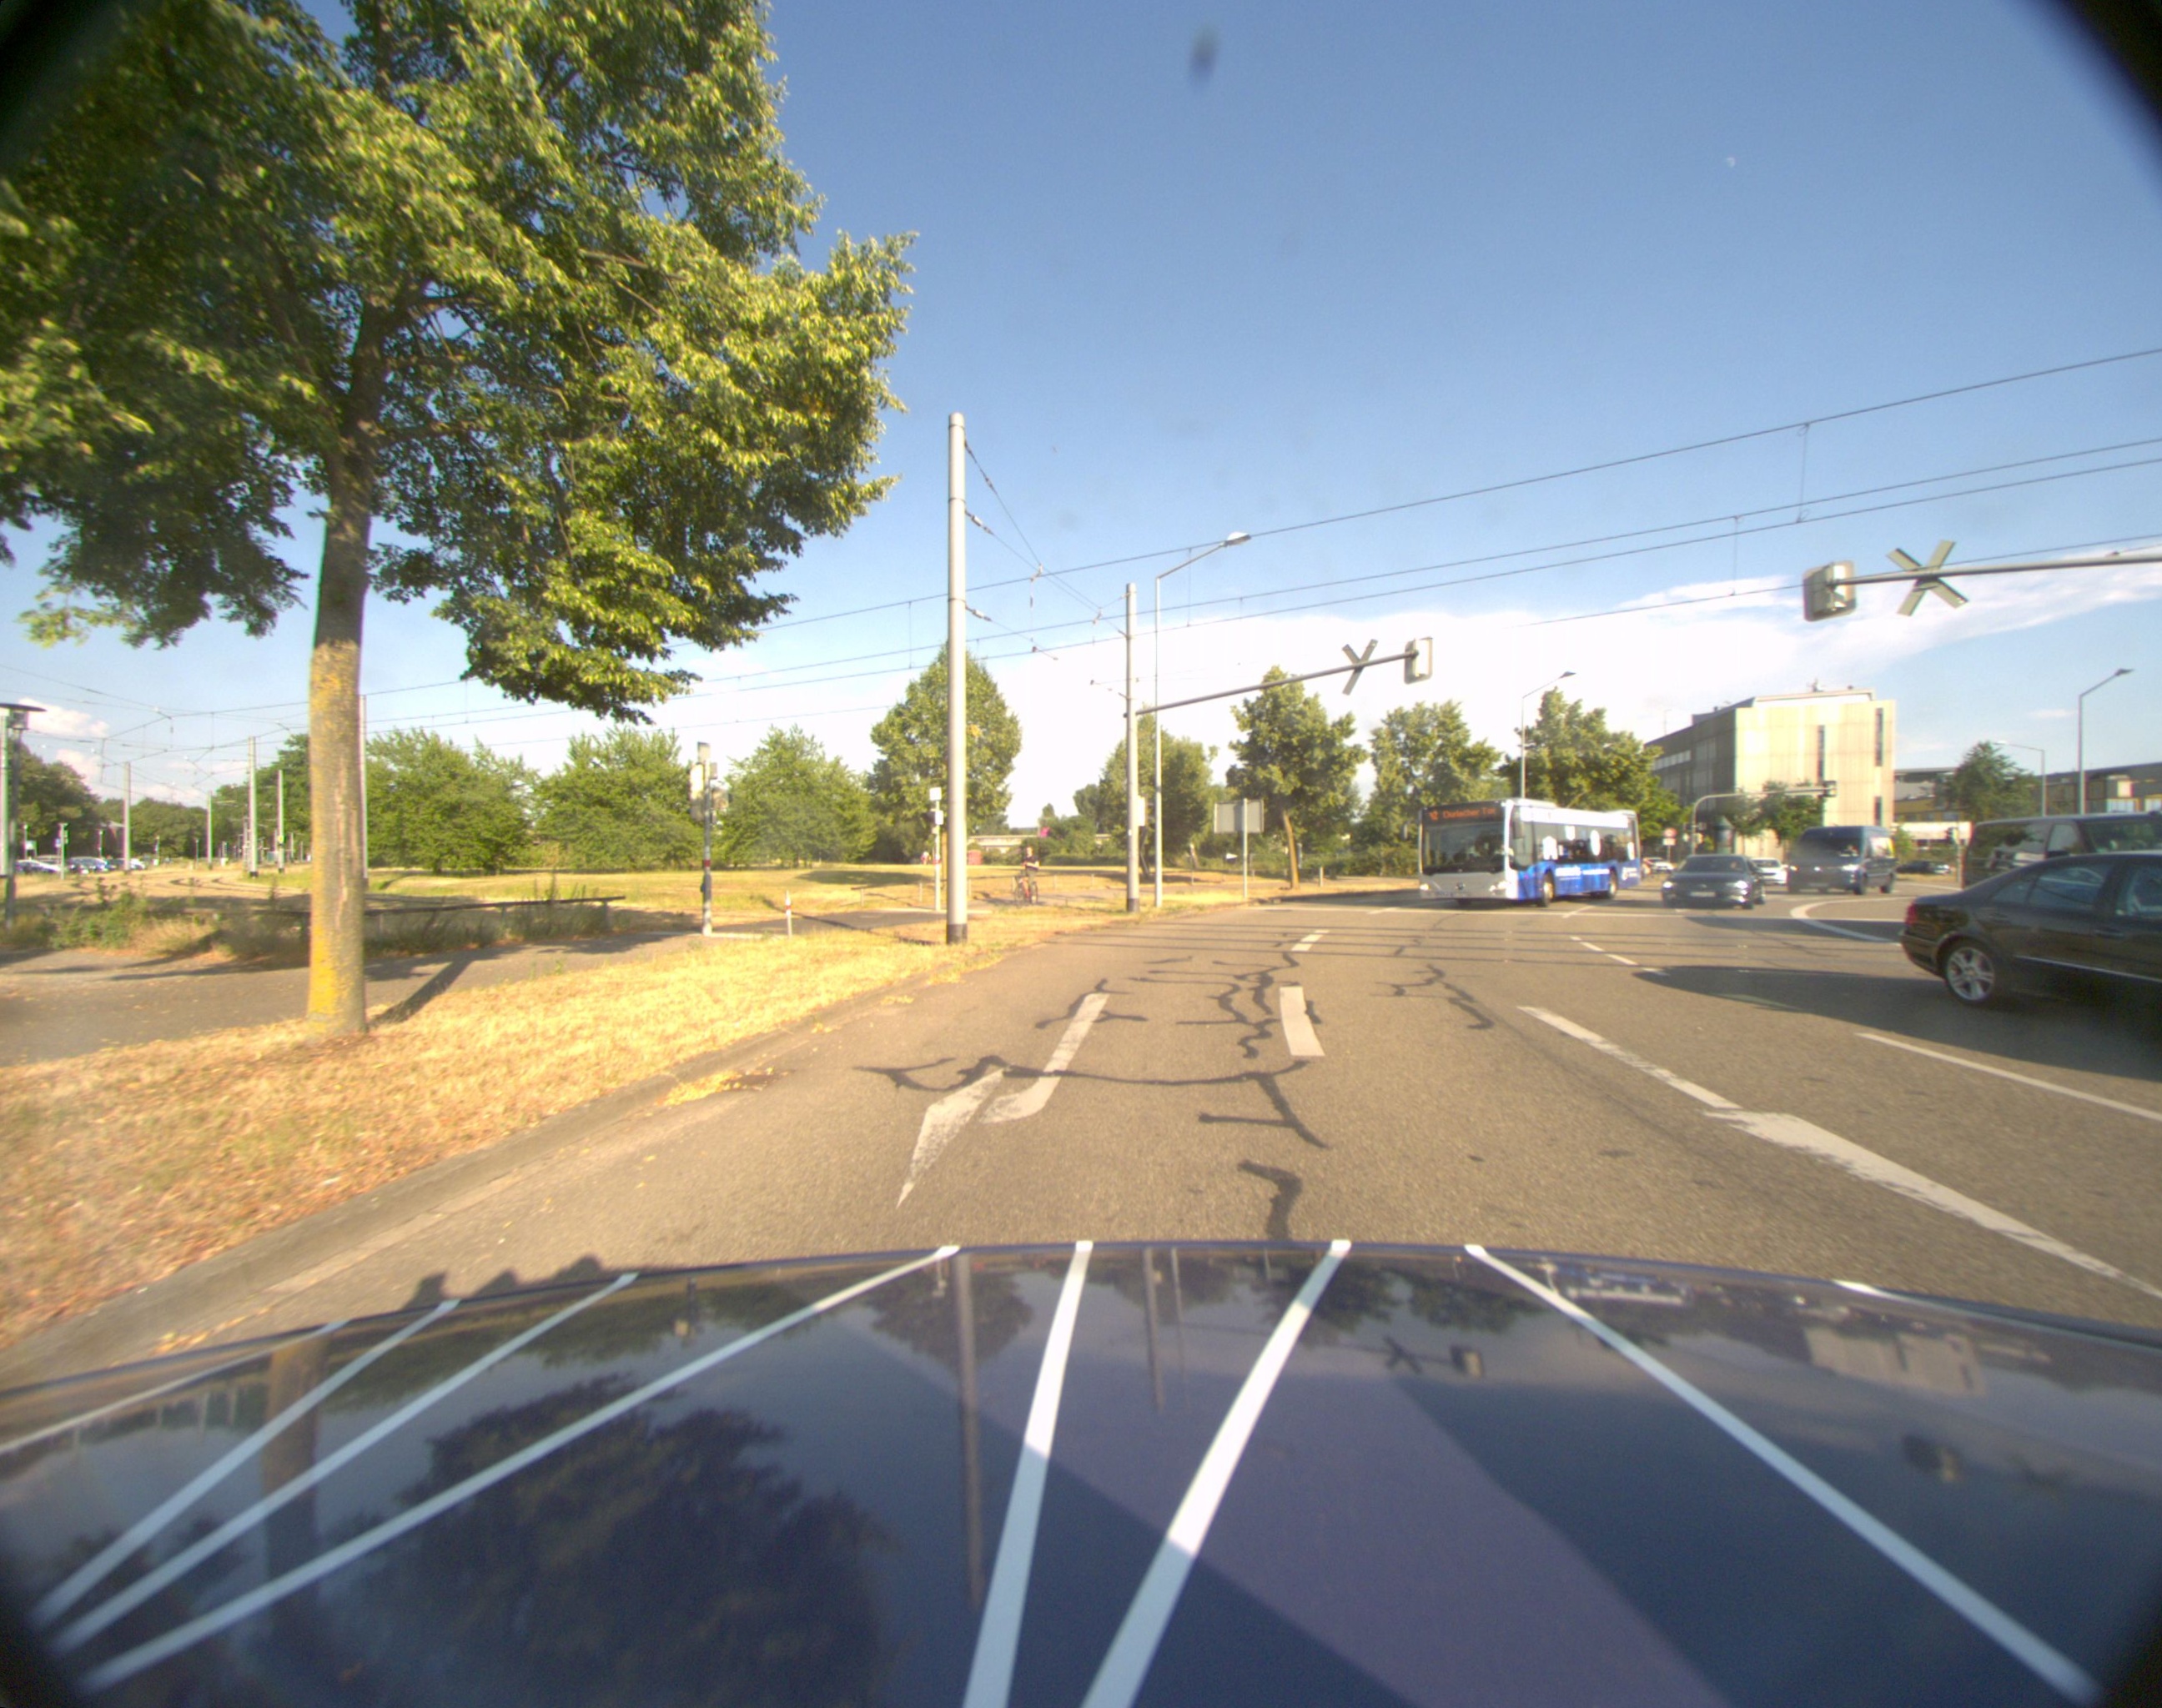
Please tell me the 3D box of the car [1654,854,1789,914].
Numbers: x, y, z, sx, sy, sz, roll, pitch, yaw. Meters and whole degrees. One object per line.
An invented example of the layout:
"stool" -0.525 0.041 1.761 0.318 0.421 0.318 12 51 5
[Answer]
"car" 17.336 0.727 20.512 4.395 1.428 1.806 -1 1 -36

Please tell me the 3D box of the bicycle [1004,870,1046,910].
"bicycle" -1.683 1.071 23.371 0.640 1.116 2.127 0 1 14

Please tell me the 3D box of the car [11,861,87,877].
"car" -90.985 1.346 67.050 1.781 1.284 3.806 0 1 40

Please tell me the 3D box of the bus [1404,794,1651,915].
"bus" 14.528 -0.062 23.961 12.202 3.044 2.659 -1 1 -39

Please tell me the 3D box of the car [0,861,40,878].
"car" -84.729 1.260 59.411 1.781 1.284 3.806 0 1 40

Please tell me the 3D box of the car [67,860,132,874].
"car" -100.224 1.337 77.670 3.805 1.284 1.781 -1 1 -43

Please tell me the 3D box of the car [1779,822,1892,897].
"car" 28.289 0.207 28.431 5.496 2.578 1.995 0 -1 -35

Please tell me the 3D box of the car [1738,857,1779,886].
"car" 38.654 0.977 43.351 1.677 1.509 4.008 1 1 42

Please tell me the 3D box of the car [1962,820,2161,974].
"car" 16.026 0.540 11.963 2.088 2.035 5.255 0 1 41

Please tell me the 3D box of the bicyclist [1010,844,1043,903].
"bicyclist" -1.676 0.589 23.470 0.727 1.790 0.939 0 1 13

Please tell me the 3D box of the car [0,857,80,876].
"car" -86.571 1.015 63.271 1.781 1.503 3.806 0 1 40

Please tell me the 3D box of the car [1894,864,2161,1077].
"car" 8.470 0.833 5.224 1.839 1.398 4.707 -1 0 17
